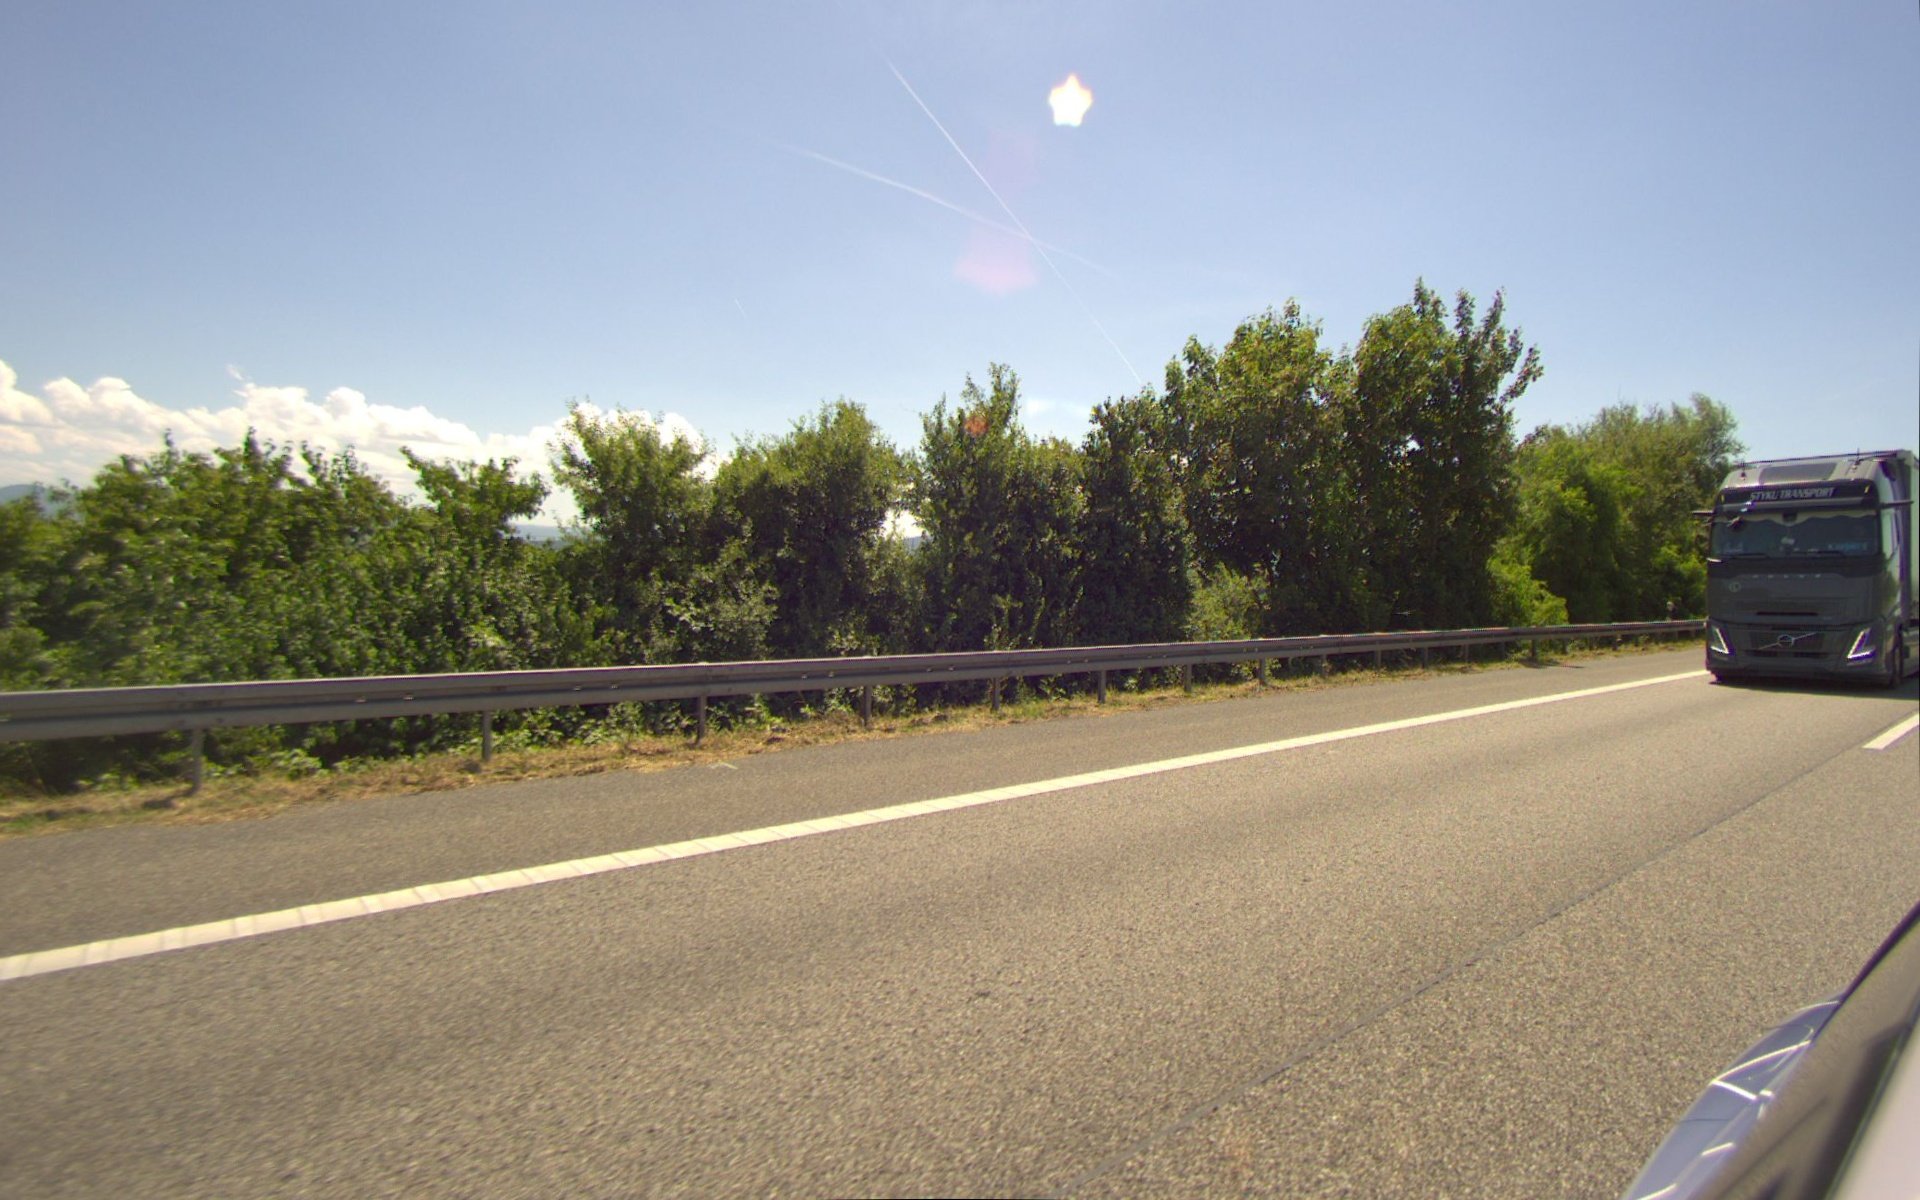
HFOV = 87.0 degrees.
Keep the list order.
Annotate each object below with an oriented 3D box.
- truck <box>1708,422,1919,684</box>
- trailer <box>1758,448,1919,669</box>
[{"bbox_3d":[16.135,-0.745,18.551,6.399,4.004,2.557,0,1,-41],"label":"truck"},{"bbox_3d":[21.697,-0.781,23.456,13.301,4.004,2.557,0,1,-41],"label":"trailer"}]
